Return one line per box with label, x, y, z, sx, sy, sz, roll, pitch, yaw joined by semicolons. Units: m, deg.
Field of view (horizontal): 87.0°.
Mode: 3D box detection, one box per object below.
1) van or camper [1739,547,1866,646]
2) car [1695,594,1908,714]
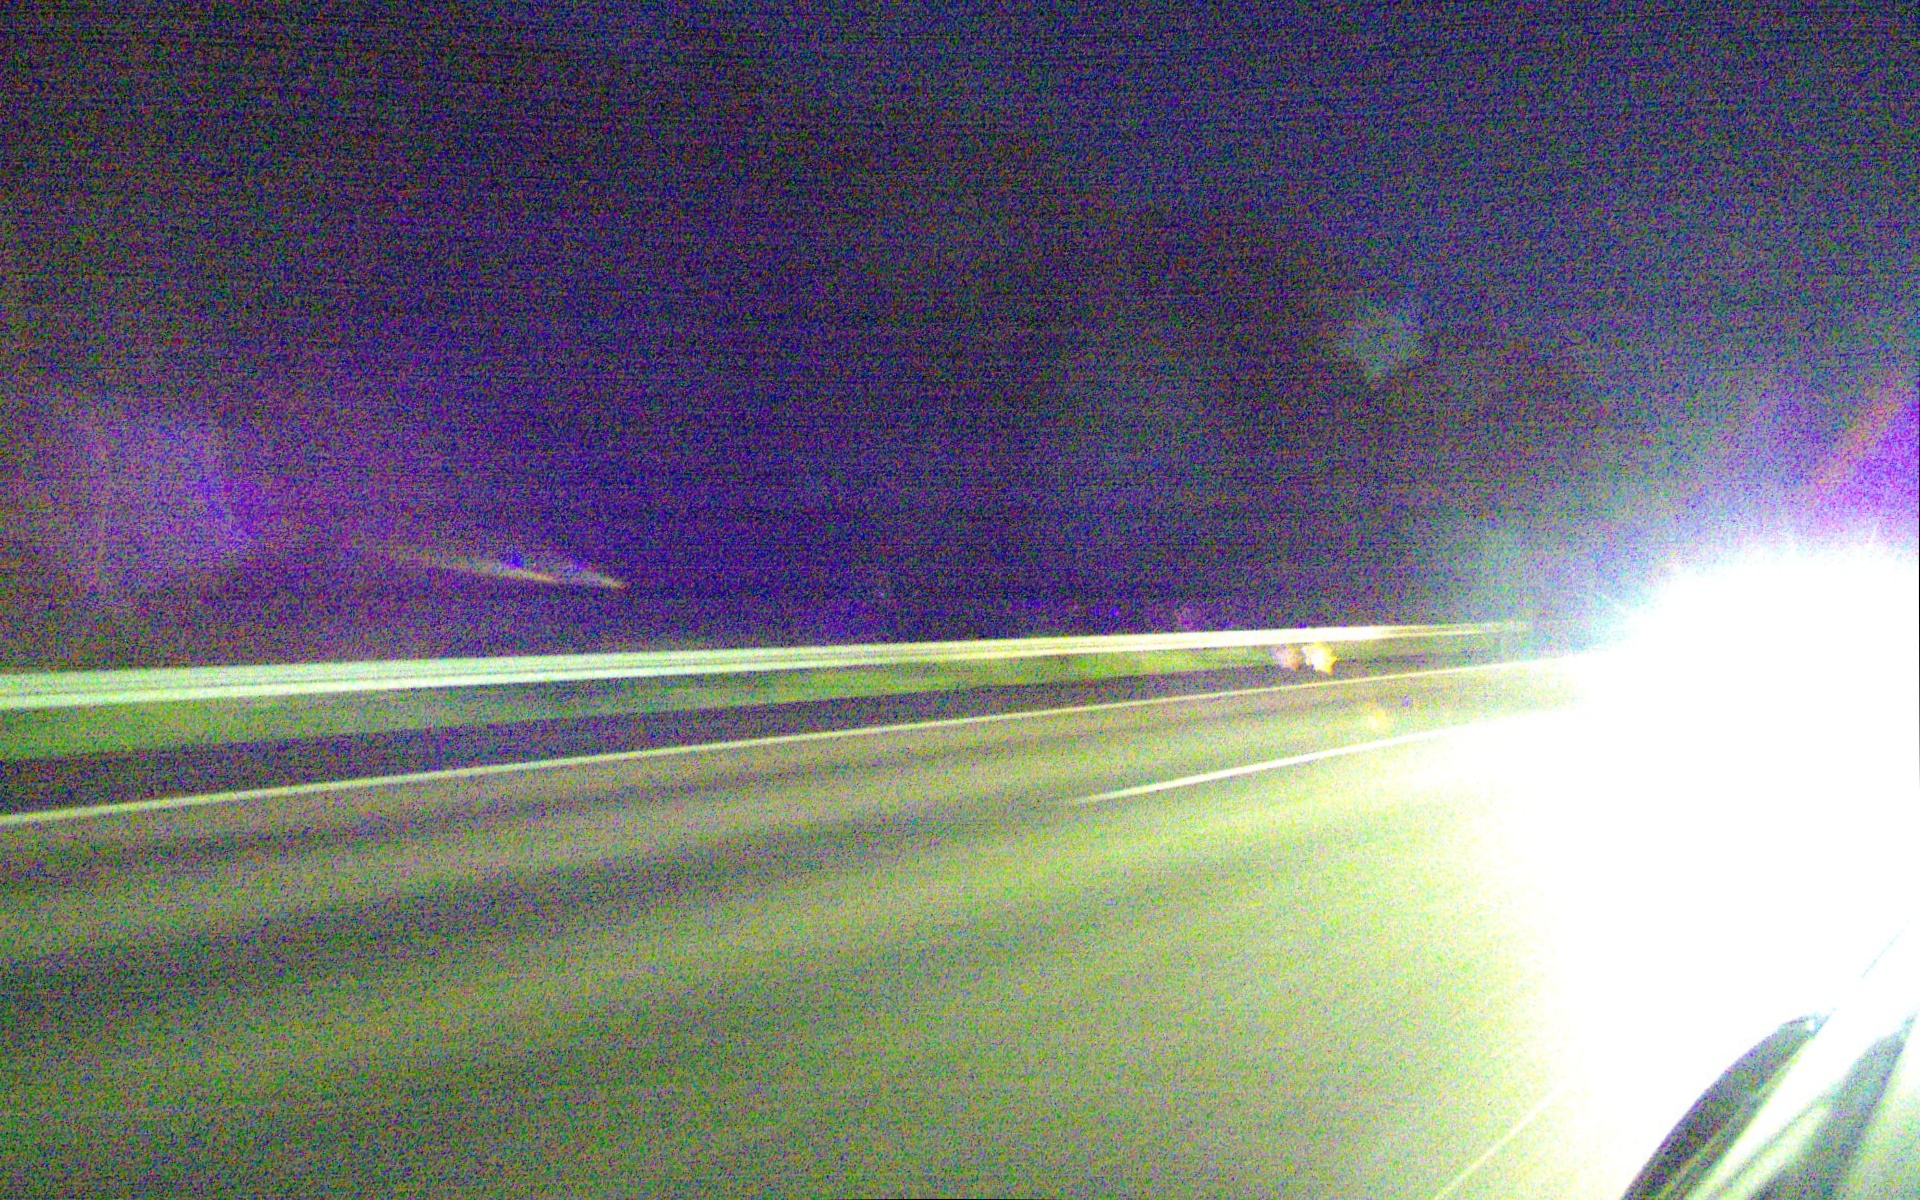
van or camper;26.689;-0.123;31.958;6.688;2.806;2.210;0;0;-42
car;12.176;0.679;14.550;4.151;1.431;1.689;1;1;-41
